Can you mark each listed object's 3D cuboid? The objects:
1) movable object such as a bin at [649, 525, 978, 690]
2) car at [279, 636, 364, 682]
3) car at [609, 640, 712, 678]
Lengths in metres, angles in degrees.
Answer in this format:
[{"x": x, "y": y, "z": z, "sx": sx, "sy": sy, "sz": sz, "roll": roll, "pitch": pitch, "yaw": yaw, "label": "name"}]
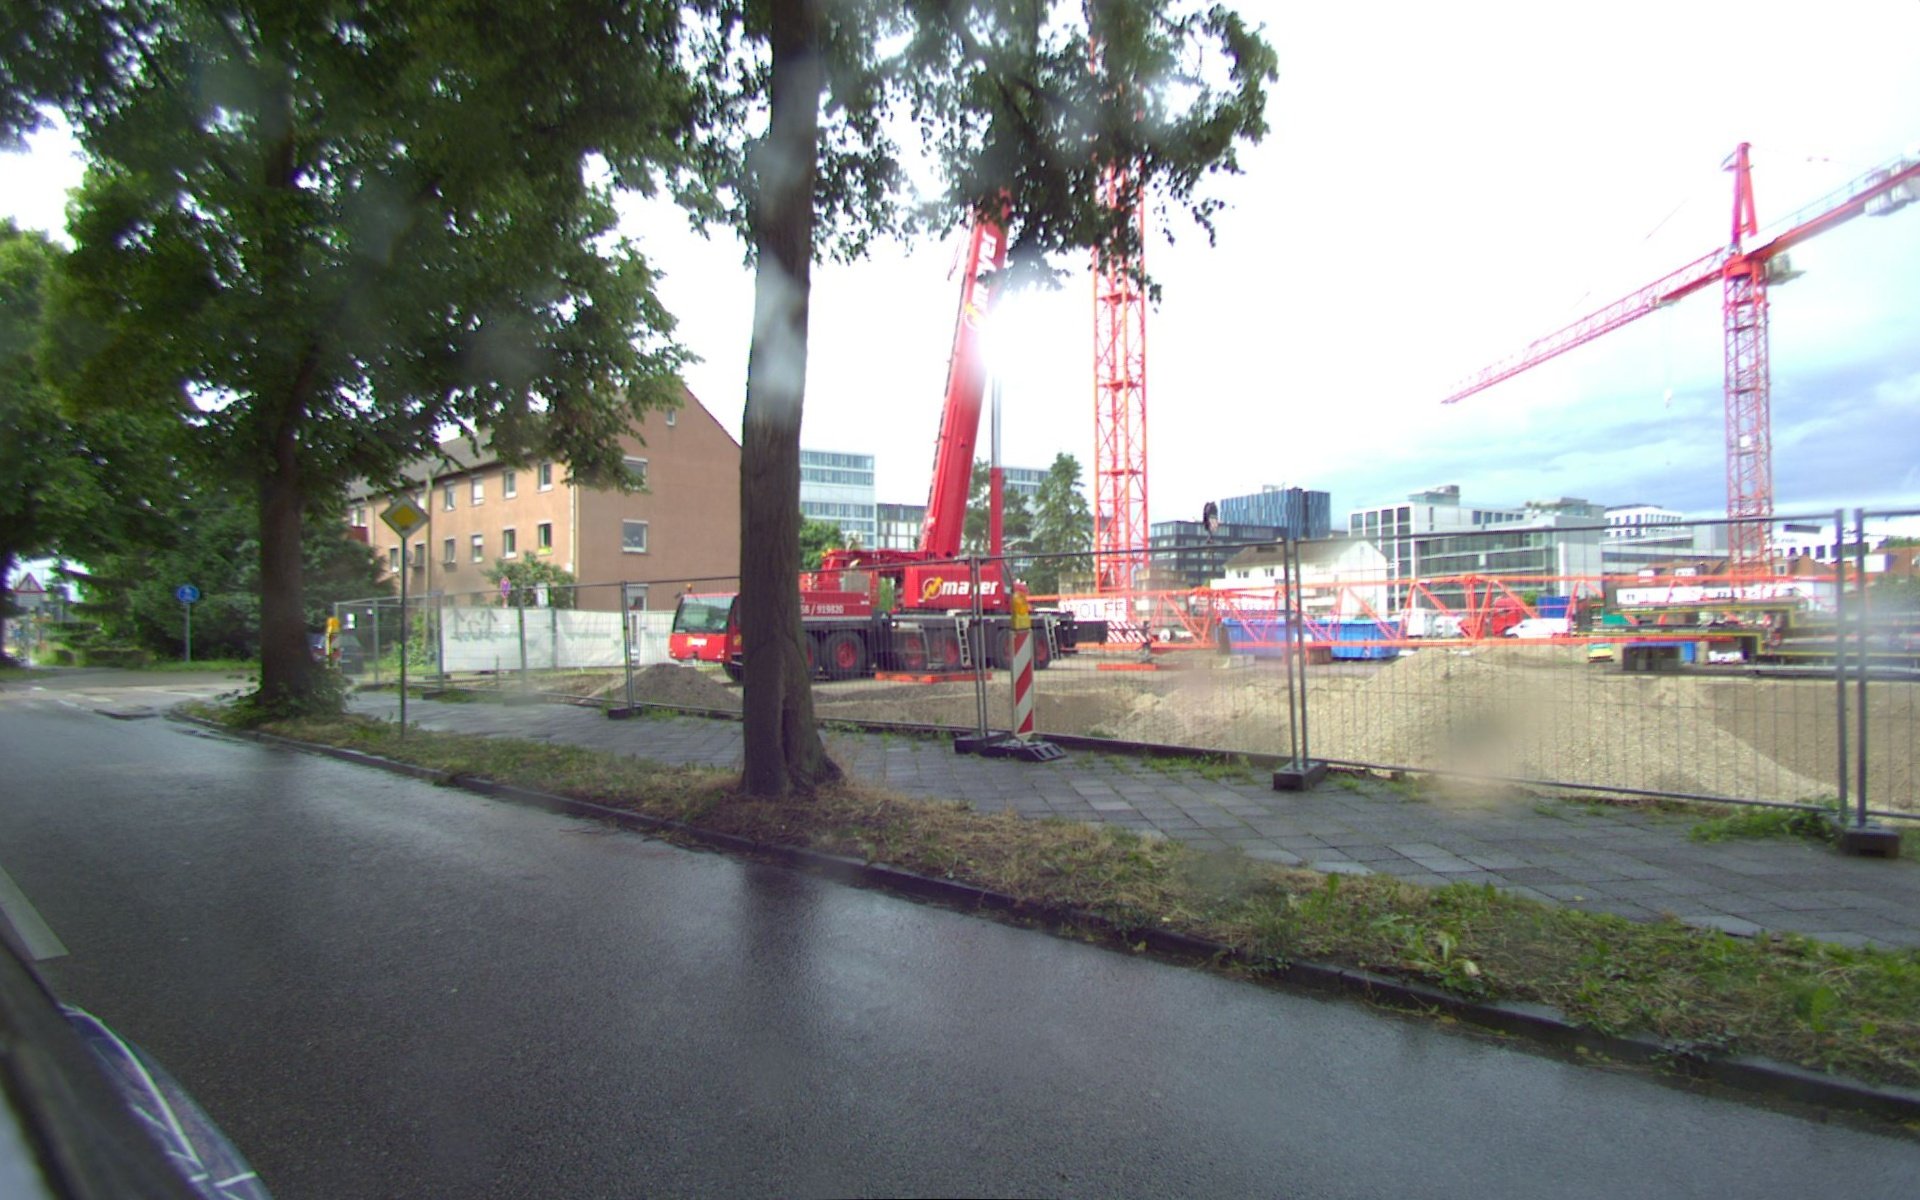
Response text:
[{"x": -3.991, "y": 0.275, "z": 30.209, "sx": 3.366, "sy": 4.147, "sz": 9.704, "roll": -3, "pitch": -3, "yaw": 43, "label": "movable object such as a bin"}, {"x": -23.015, "y": 2.090, "z": 36.428, "sx": 3.869, "sy": 1.431, "sz": 1.607, "roll": 0, "pitch": 0, "yaw": 42, "label": "car"}, {"x": -12.189, "y": 2.379, "z": 41.400, "sx": 1.721, "sy": 1.424, "sz": 4.026, "roll": -2, "pitch": -2, "yaw": 29, "label": "car"}]
